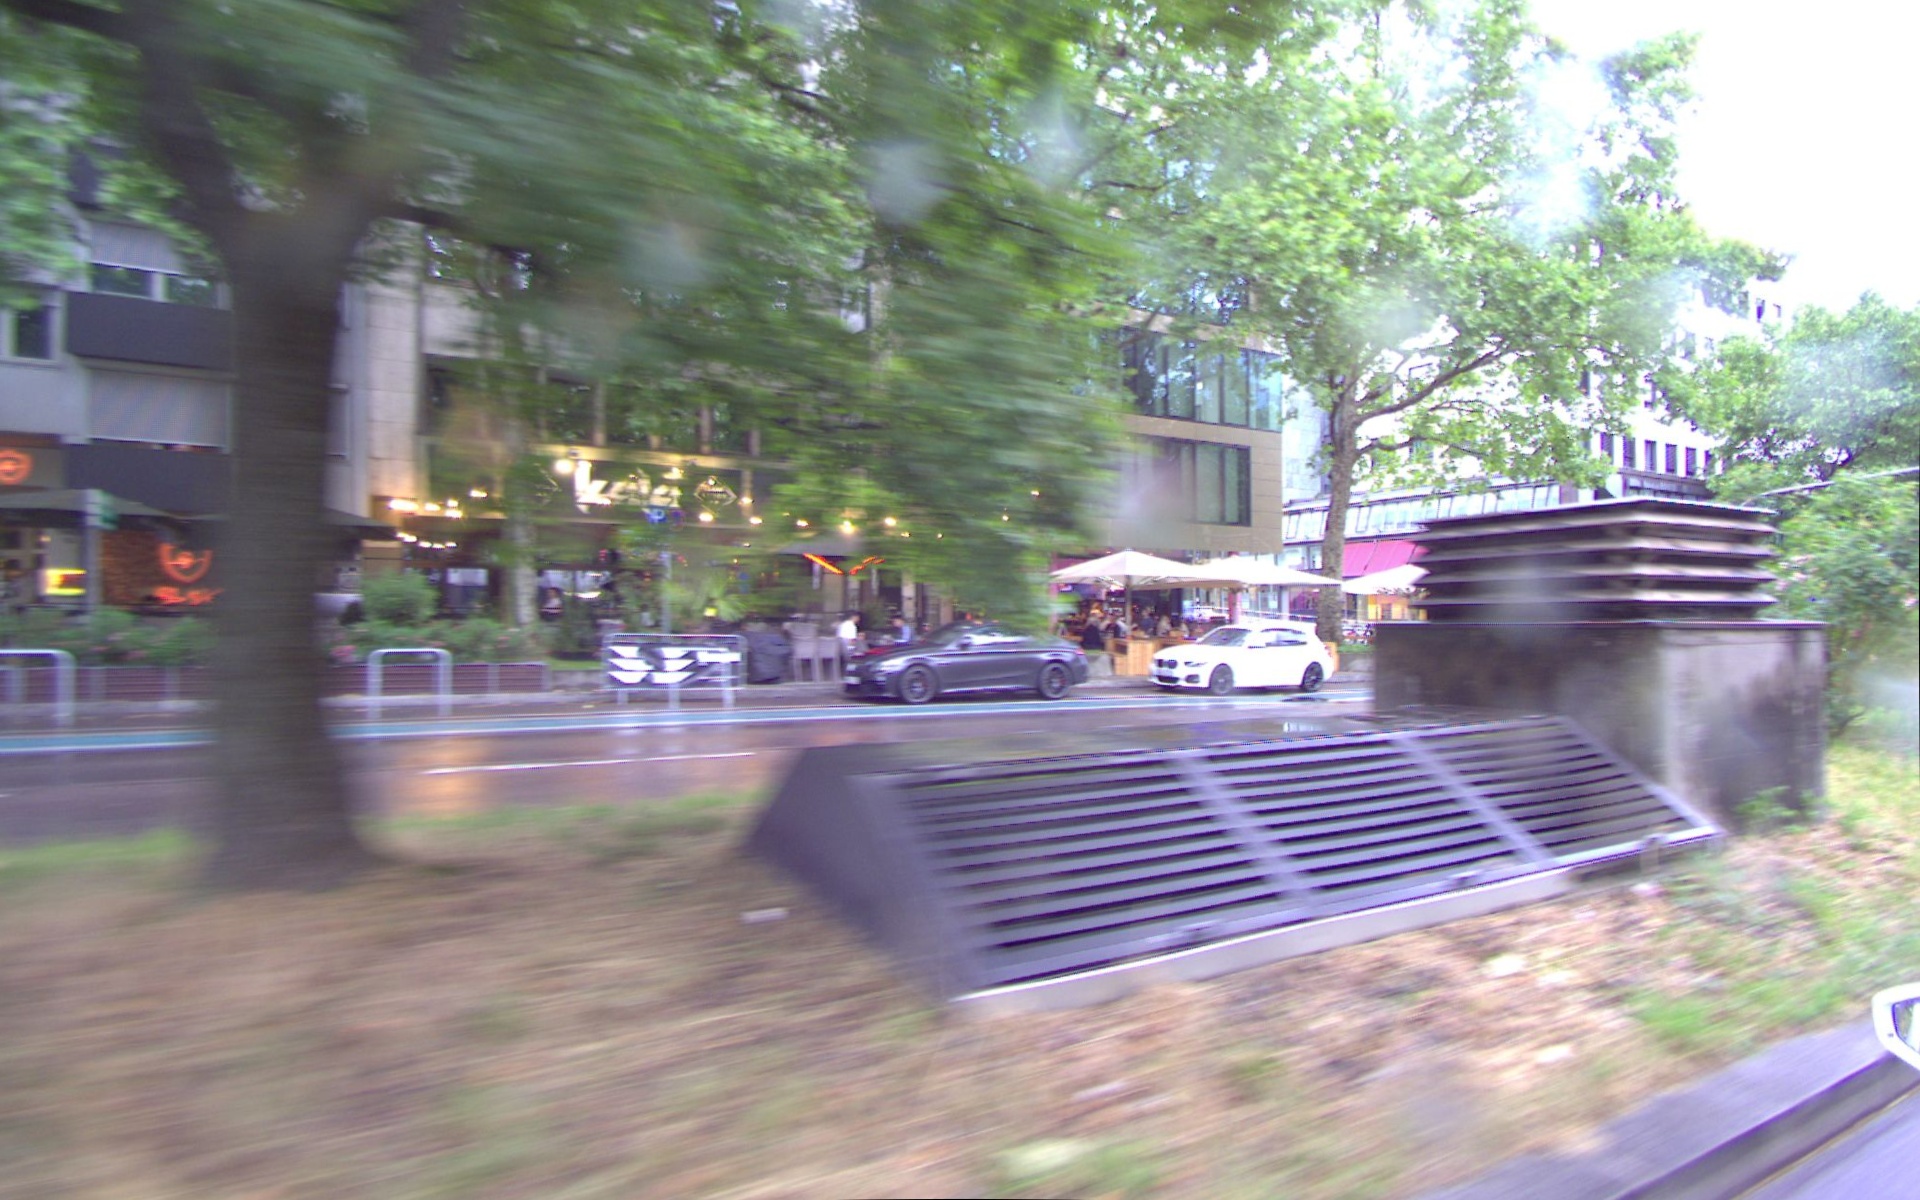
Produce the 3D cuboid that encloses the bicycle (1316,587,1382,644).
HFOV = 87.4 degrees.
[{"bbox_3d":[14.419,0.567,37.334,0.682,2.040,2.374,1,-1,-31],"label":"bicycle"}]

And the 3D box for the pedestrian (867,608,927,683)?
[{"bbox_3d":[-1.316,0.935,20.895,0.963,1.508,0.824,1,0,-33],"label":"pedestrian"}]

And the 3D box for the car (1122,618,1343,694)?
[{"bbox_3d":[5.859,1.132,21.494,4.486,1.388,1.984,1,1,-30],"label":"car"}]

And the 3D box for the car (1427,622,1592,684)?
[{"bbox_3d":[14.743,1.379,26.915,4.468,1.529,1.983,1,-1,-32],"label":"car"}]

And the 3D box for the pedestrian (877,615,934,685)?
[{"bbox_3d":[-1.138,1.028,20.969,0.923,1.398,0.759,1,0,-33],"label":"pedestrian"}]

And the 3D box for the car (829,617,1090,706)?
[{"bbox_3d":[0.036,1.060,18.179,4.430,1.413,1.816,1,-1,-30],"label":"car"}]
